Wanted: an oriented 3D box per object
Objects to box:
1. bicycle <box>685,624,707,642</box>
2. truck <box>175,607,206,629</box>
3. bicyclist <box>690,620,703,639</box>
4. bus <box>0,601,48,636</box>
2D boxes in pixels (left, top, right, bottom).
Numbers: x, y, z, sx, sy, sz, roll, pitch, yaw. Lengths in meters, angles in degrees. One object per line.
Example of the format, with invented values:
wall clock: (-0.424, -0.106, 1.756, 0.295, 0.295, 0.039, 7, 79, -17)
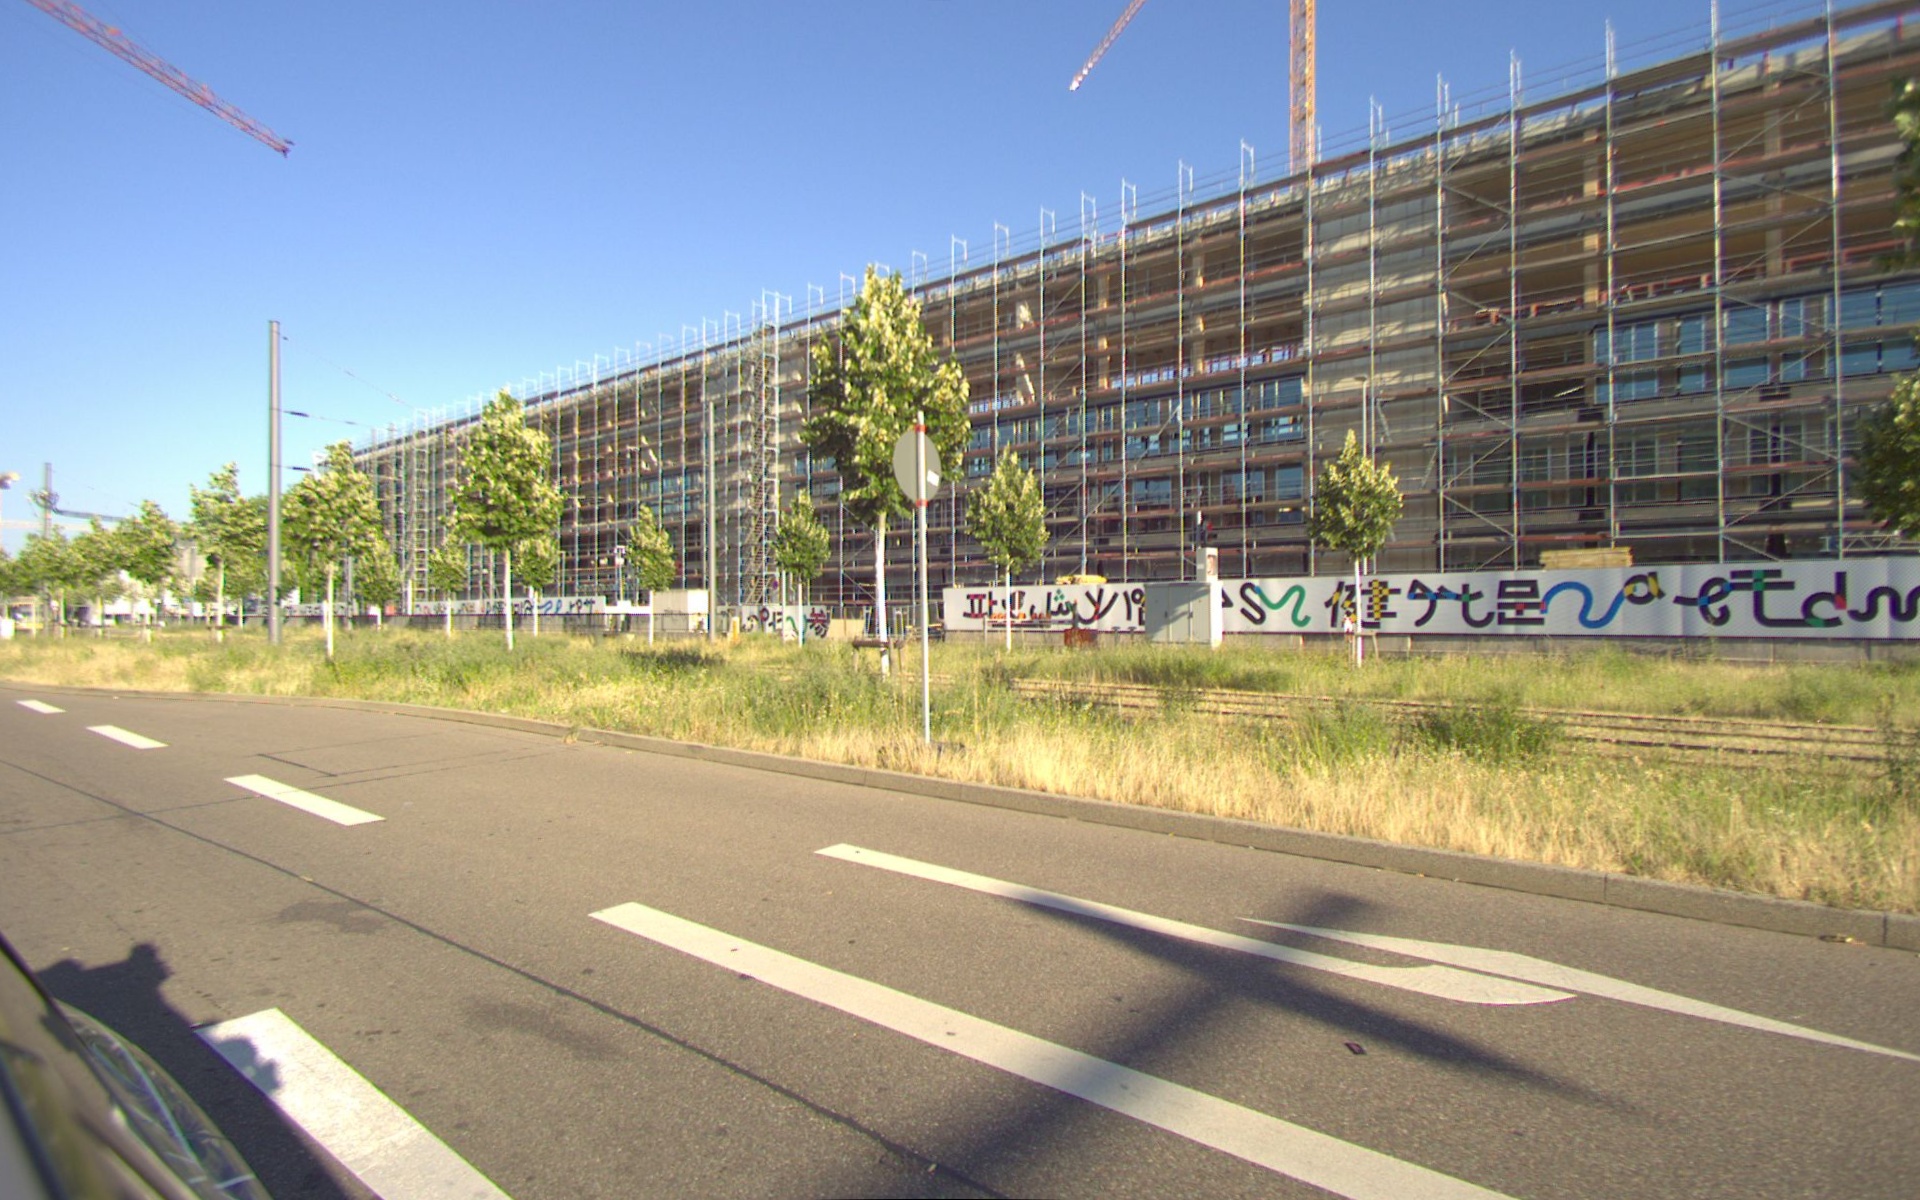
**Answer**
bicycle: (-16.031, 2.027, 61.494, 1.563, 1.069, 0.473, -1, -2, 41)
truck: (-90.254, 2.118, 118.648, 4.739, 2.593, 2.115, -2, -2, 42)
bicyclist: (-16.012, 1.788, 61.477, 0.638, 1.162, 0.473, -1, -2, 41)
bus: (-91.241, 1.847, 98.600, 8.653, 3.247, 2.688, -2, -2, 42)
